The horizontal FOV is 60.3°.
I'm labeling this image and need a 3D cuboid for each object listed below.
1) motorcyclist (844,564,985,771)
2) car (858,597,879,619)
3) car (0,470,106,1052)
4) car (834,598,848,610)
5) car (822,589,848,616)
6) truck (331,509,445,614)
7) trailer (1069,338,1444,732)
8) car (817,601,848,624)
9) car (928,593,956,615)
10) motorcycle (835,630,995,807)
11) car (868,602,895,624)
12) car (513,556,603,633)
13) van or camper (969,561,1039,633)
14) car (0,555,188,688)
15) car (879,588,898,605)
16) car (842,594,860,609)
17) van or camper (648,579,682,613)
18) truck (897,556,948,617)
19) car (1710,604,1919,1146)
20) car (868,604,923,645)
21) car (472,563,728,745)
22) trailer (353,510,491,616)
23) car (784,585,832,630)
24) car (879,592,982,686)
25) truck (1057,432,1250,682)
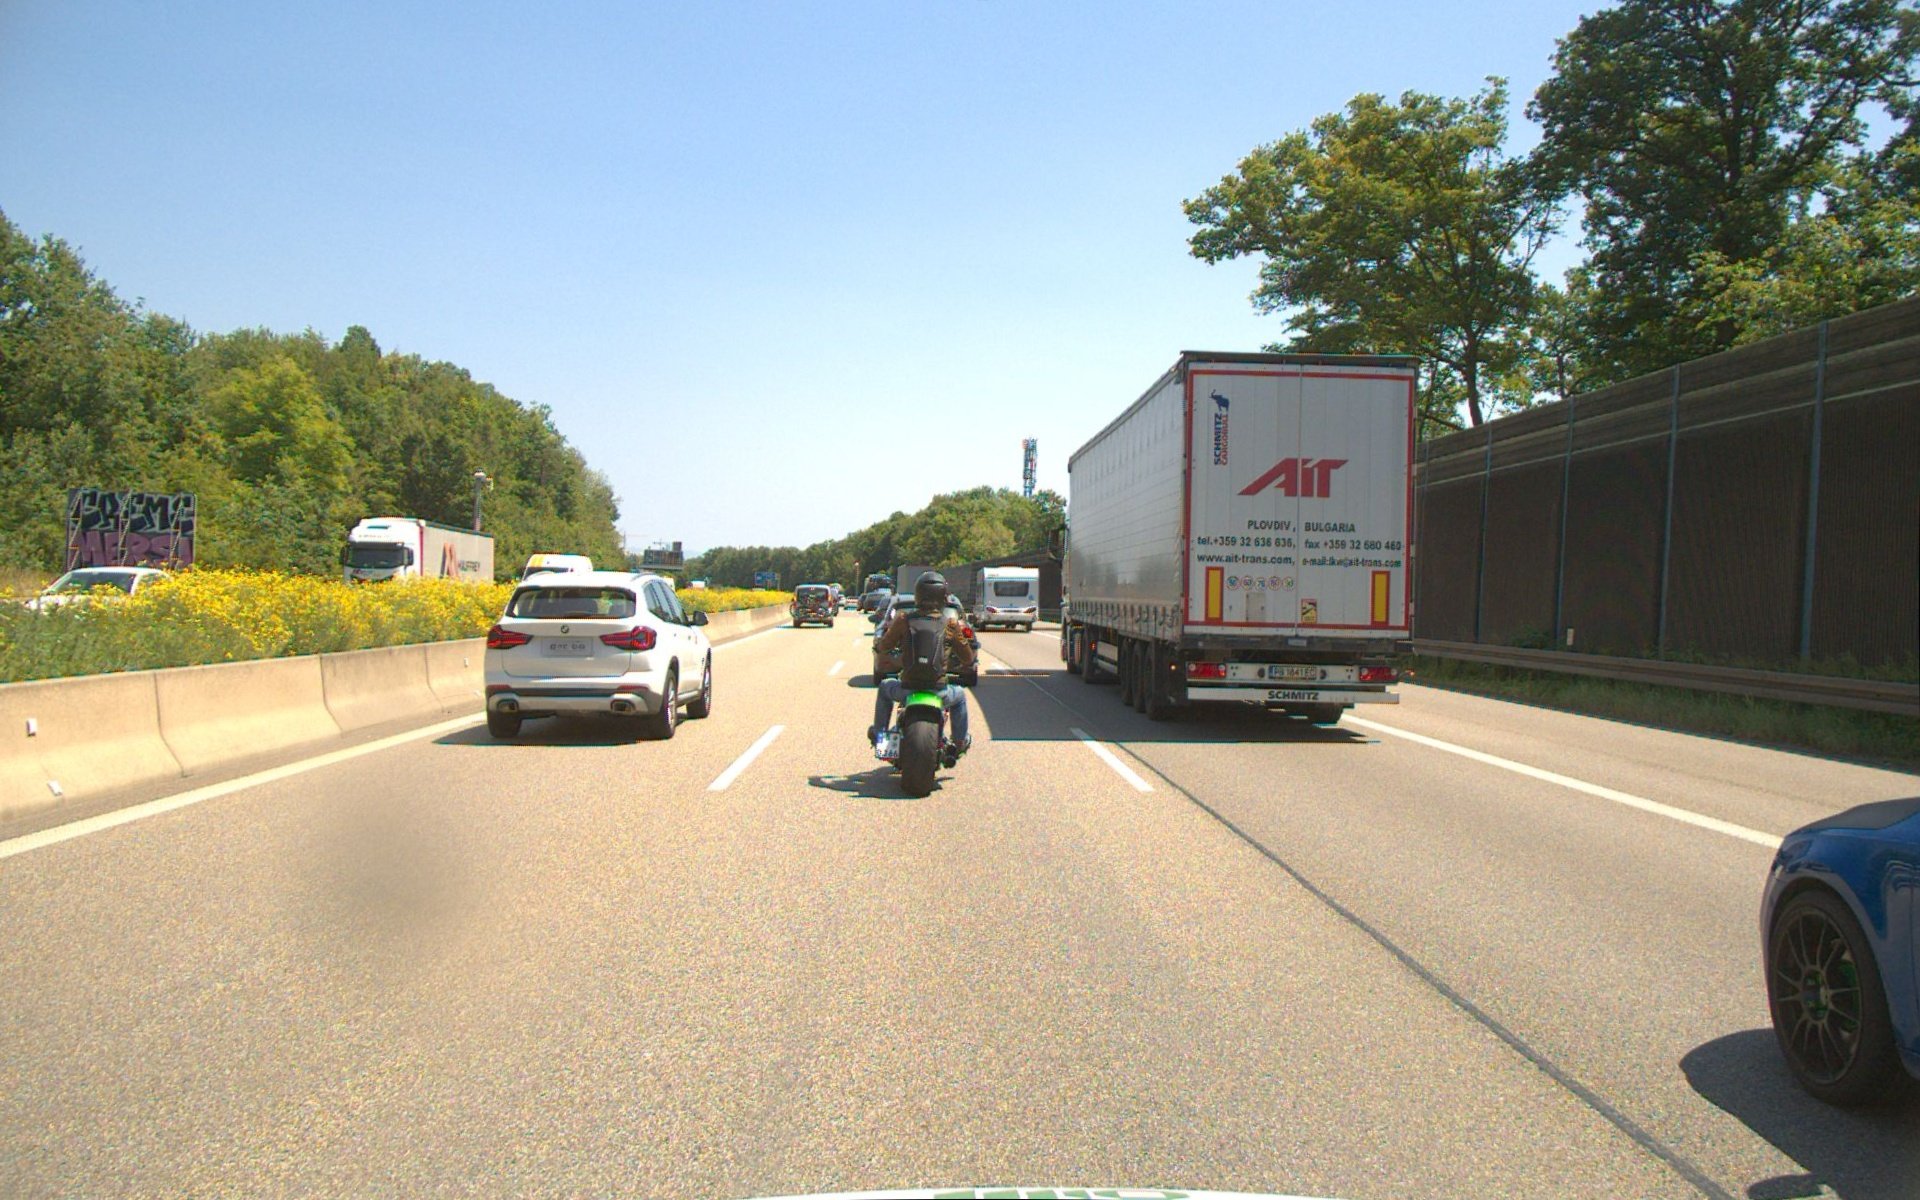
[{"bbox_3d":[-0.319,0.509,13.008,0.880,1.501,1.873,1,-1,5],"label":"motorcyclist"},{"bbox_3d":[-8.847,0.790,159.586,1.874,2.049,3.686,1,-1,-5],"label":"car"},{"bbox_3d":[-3.855,0.500,3.526,1.729,1.844,4.672,1,0,-2],"label":"car"},{"bbox_3d":[-15.791,0.595,219.709,1.797,1.522,3.739,1,-1,-6],"label":"car"},{"bbox_3d":[-9.673,0.223,128.154,1.755,2.049,3.640,1,-1,-2],"label":"car"},{"bbox_3d":[-24.238,-1.523,70.392,2.905,4.179,6.084,1,-1,-3],"label":"truck"},{"bbox_3d":[3.576,-0.683,24.304,2.827,4.109,13.792,1,0,-1],"label":"trailer"},{"bbox_3d":[-8.355,0.850,108.661,1.954,1.411,3.997,1,-1,-4],"label":"car"},{"bbox_3d":[-1.367,0.314,124.915,1.954,1.601,3.997,1,-1,-3],"label":"car"},{"bbox_3d":[-0.289,0.862,13.088,0.944,1.168,2.813,1,0,5],"label":"motorcycle"},{"bbox_3d":[-6.116,1.003,128.676,1.954,1.669,3.996,1,-1,-4],"label":"car"},{"bbox_3d":[-16.228,-0.227,67.201,2.027,2.947,7.459,1,0,-2],"label":"car"},{"bbox_3d":[1.787,-0.063,70.143,2.631,2.862,6.800,1,-1,-1],"label":"van or camper"},{"bbox_3d":[-14.761,0.362,27.744,1.840,2.049,3.997,1,-1,-3],"label":"car"},{"bbox_3d":[-8.401,-0.368,193.775,2.067,1.909,3.995,1,-1,-5],"label":"car"},{"bbox_3d":[-12.072,0.195,182.982,1.797,1.522,3.739,1,-1,-5],"label":"car"},{"bbox_3d":[-24.506,-0.354,137.584,2.043,2.748,6.148,1,0,-3],"label":"van or camper"},{"bbox_3d":[-3.315,-1.112,143.976,3.729,5.047,8.940,1,-1,-5],"label":"truck"},{"bbox_3d":[3.514,0.758,3.629,1.617,1.509,4.480,1,-1,-2],"label":"car"},{"bbox_3d":[-2.388,0.917,61.086,1.953,1.455,3.845,1,-1,-2],"label":"car"},{"bbox_3d":[-3.792,0.527,18.306,1.826,1.724,4.954,1,0,-1],"label":"car"},{"bbox_3d":[-24.617,-1.501,76.502,2.868,4.306,13.053,1,-1,-4],"label":"trailer"},{"bbox_3d":[-6.671,0.359,72.956,1.861,1.906,4.410,1,-1,-3],"label":"car"},{"bbox_3d":[-0.506,0.658,28.329,1.628,1.478,3.868,1,-1,-1],"label":"car"},{"bbox_3d":[3.480,-0.732,31.182,2.827,4.218,5.984,1,0,-1],"label":"truck"}]
